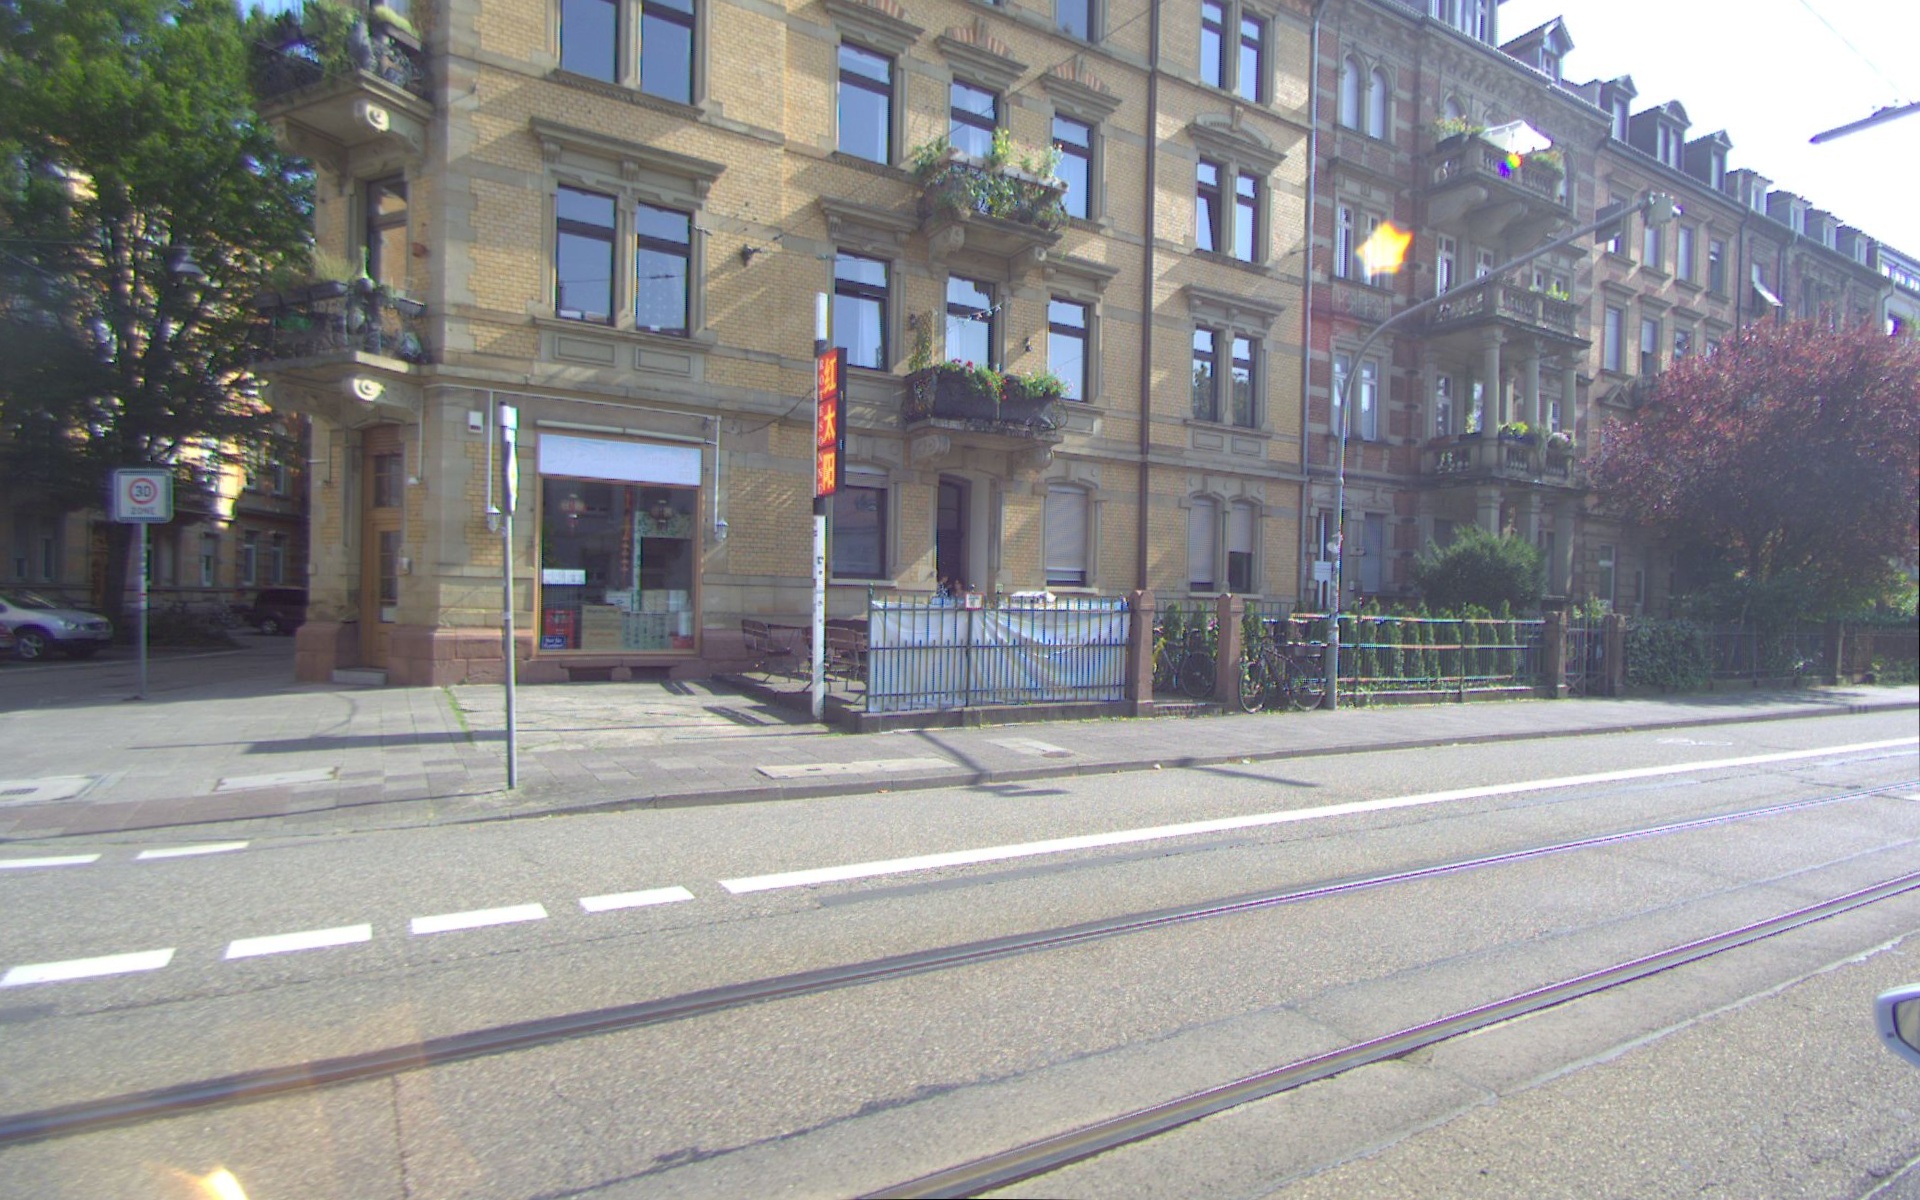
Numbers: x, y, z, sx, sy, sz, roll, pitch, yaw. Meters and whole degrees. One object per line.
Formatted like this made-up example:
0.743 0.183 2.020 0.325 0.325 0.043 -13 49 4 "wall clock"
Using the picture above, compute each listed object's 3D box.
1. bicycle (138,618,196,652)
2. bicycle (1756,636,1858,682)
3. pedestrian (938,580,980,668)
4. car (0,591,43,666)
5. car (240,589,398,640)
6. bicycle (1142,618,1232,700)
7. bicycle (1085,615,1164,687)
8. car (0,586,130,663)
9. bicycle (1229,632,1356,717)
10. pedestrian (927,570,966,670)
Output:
-26.914 1.172 34.127 0.582 1.082 2.009 1 -1 -9 "bicycle"
22.665 1.569 26.920 0.582 1.118 2.004 1 0 -33 "bicycle"
-0.015 0.470 19.691 0.576 1.689 0.545 1 -1 -41 "pedestrian"
-20.856 0.522 19.782 3.703 1.474 1.764 1 -1 -13 "car"
-23.322 0.542 36.719 4.462 1.578 1.763 3 -1 -14 "car"
3.286 0.840 14.632 0.412 1.074 1.349 1 1 -33 "bicycle"
2.571 0.779 15.810 0.412 1.074 1.349 1 -1 -33 "bicycle"
-21.130 0.501 22.242 3.821 1.627 1.765 1 -1 -11 "car"
4.712 1.028 14.180 1.980 1.122 0.506 2 0 -31 "bicycle"
-0.251 0.378 19.311 0.541 1.874 0.580 1 0 20 "pedestrian"
